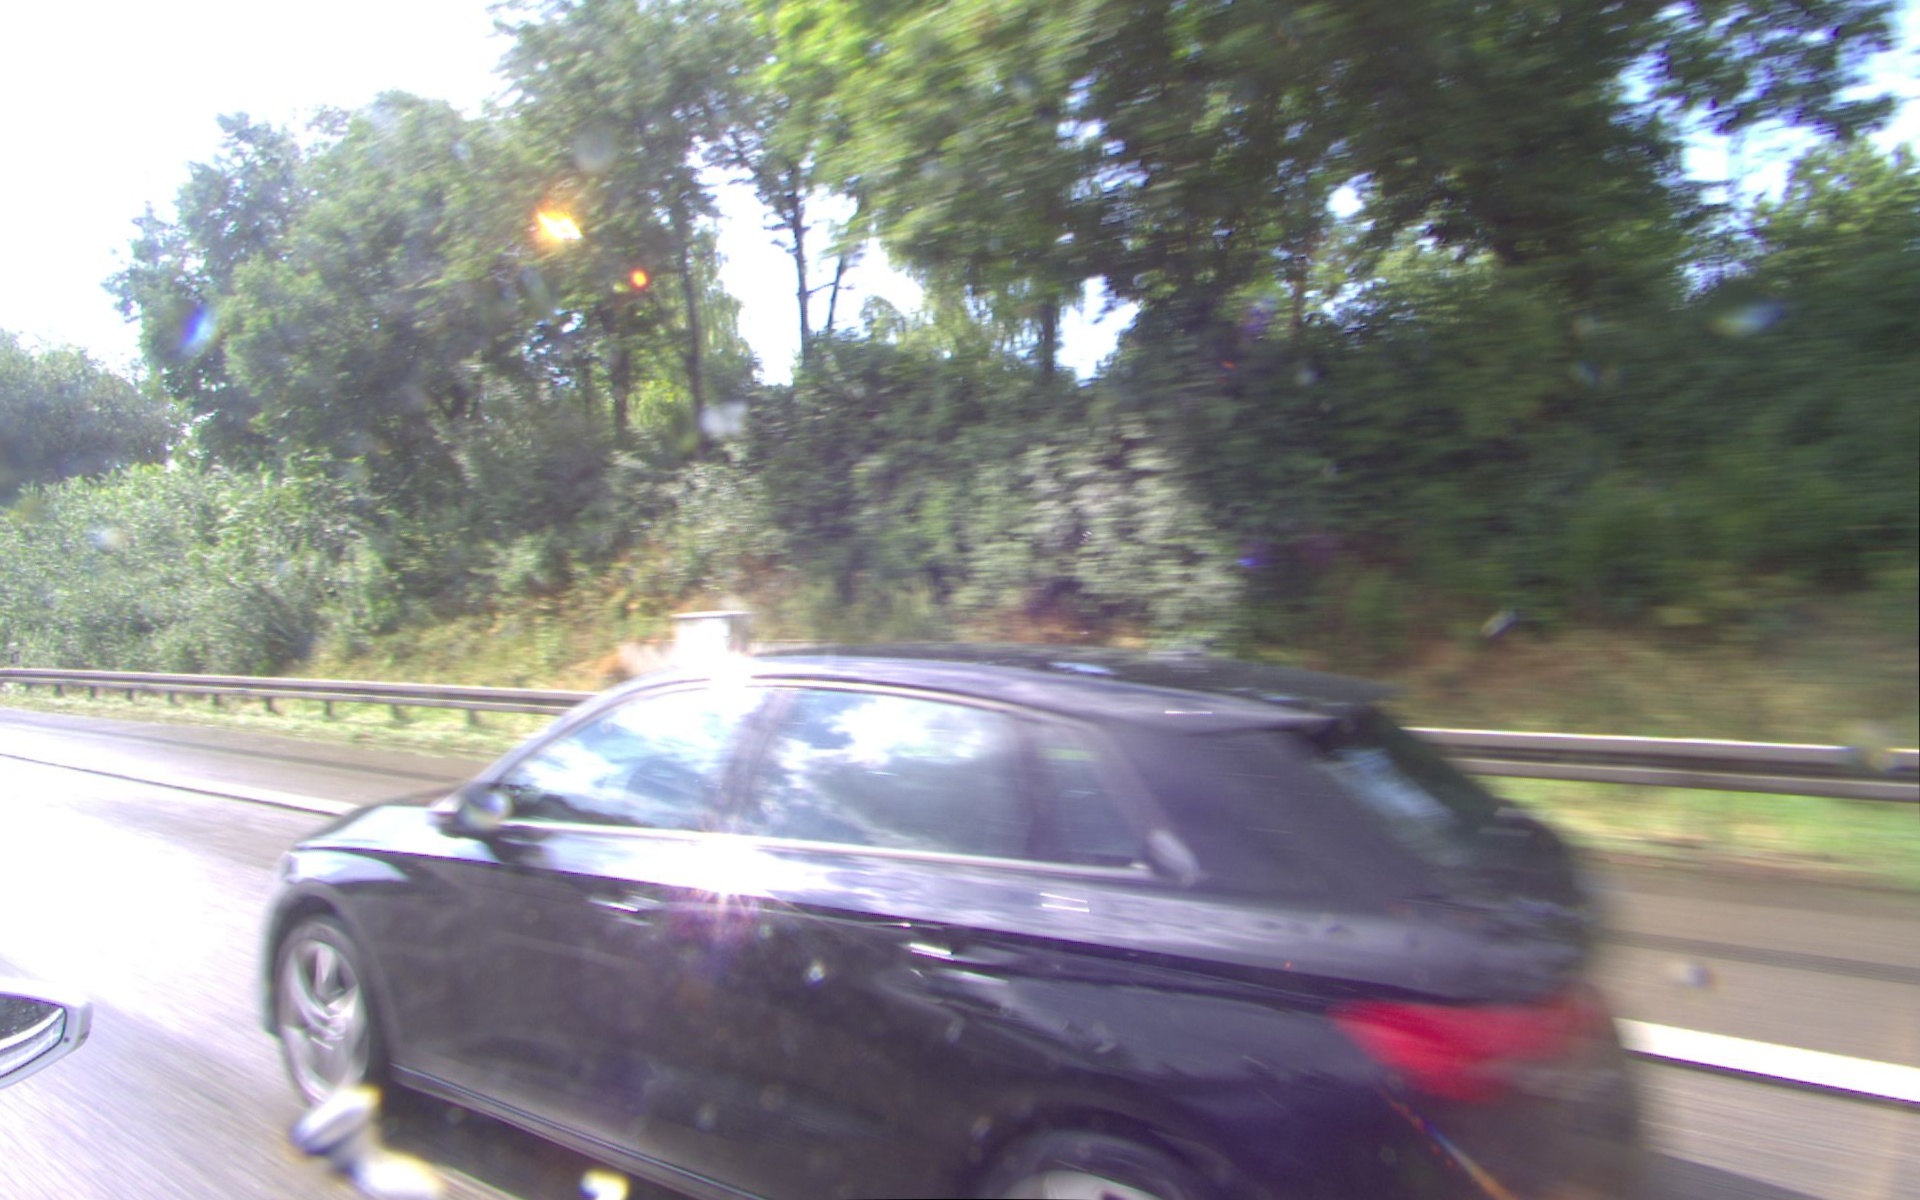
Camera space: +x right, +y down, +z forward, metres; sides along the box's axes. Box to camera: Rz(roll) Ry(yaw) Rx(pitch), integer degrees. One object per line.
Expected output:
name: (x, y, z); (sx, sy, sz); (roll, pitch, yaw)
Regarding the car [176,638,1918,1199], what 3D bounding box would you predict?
car: (-0.352, 0.830, 2.954); (4.306, 1.414, 1.752); (-1, -2, 32)
